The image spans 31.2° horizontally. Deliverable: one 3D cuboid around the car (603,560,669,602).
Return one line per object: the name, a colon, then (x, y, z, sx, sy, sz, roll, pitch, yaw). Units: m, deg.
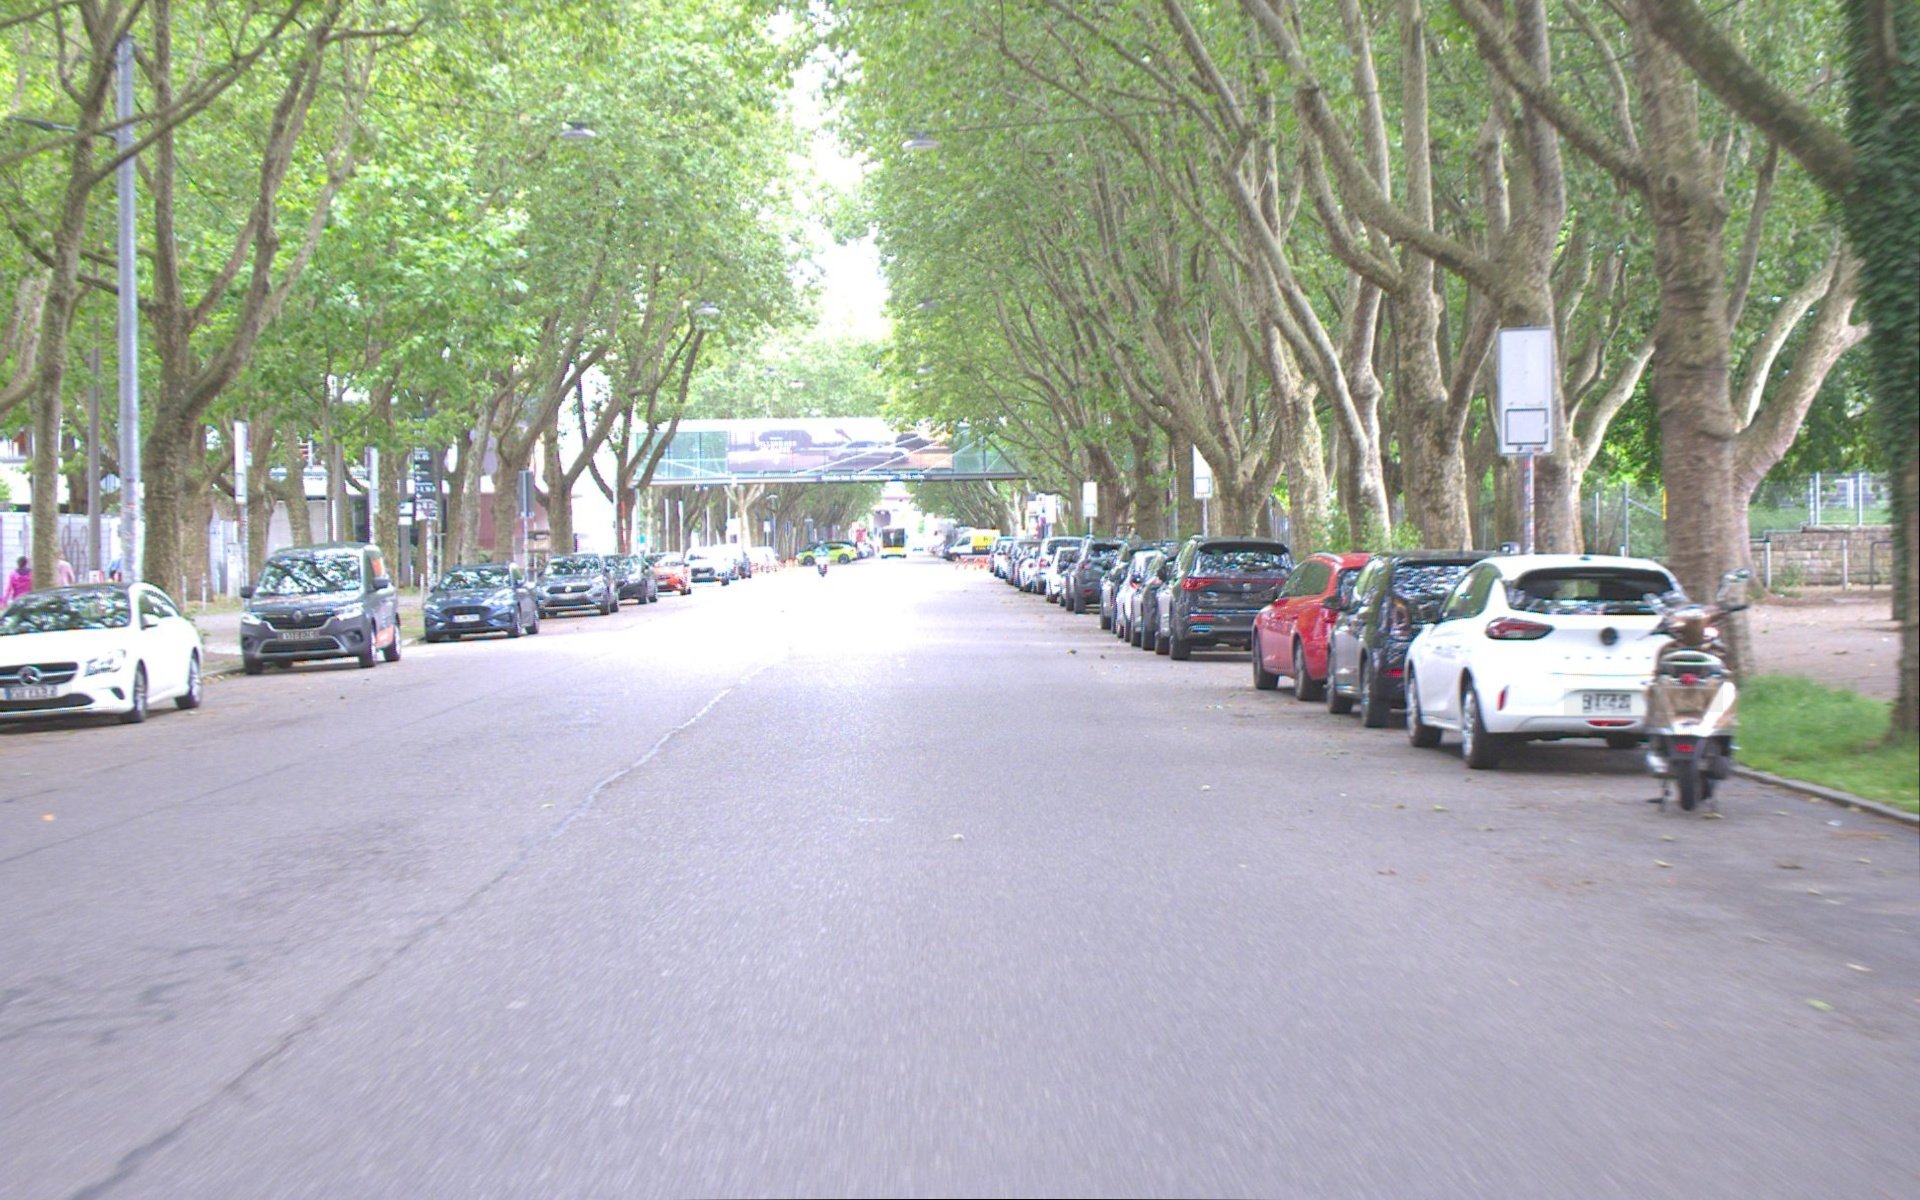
car: (-10.751, -0.644, 114.322, 1.808, 1.349, 4.000, -1, 1, 0)

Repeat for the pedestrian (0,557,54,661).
pedestrian: (-15.812, 0.146, 58.219, 0.575, 1.736, 0.767, -1, 1, 14)

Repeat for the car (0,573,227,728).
car: (-9.104, 0.492, 35.758, 1.904, 1.398, 4.751, -4, 1, -1)

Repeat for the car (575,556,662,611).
car: (-9.560, -0.478, 96.505, 1.827, 1.460, 4.627, -2, 1, 2)

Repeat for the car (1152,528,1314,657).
car: (3.621, -0.123, 46.245, 1.755, 1.614, 4.439, 1, 1, 0)

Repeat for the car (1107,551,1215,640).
car: (3.388, -0.104, 58.470, 1.616, 1.436, 3.710, 1, 1, 0)

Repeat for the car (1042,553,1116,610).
car: (3.047, -0.494, 88.725, 1.707, 1.422, 3.889, 1, 1, -1)

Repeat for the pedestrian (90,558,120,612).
pedestrian: (-24.322, -0.430, 97.801, 0.667, 1.538, 0.660, 0, 0, 0)

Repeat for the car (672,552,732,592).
car: (-10.416, -1.151, 138.875, 2.073, 1.557, 4.756, -1, 1, 0)

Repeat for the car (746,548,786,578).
car: (-10.790, -2.080, 190.922, 1.993, 1.596, 4.001, 0, 1, -6)

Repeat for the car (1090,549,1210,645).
car: (3.419, -0.075, 62.505, 1.777, 1.667, 4.638, -1, 1, -2)

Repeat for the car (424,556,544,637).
car: (-9.229, -0.099, 66.936, 1.724, 1.481, 4.575, -1, 1, -1)

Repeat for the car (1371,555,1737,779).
car: (4.130, 0.409, 24.523, 1.735, 1.433, 4.123, -1, 1, -2)

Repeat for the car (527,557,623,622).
car: (-9.465, -0.279, 84.827, 1.878, 1.521, 4.151, -2, 1, 0)

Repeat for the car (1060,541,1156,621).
car: (3.223, -0.436, 75.629, 1.707, 1.692, 4.631, 1, 1, -2)

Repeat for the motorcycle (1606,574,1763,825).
motorcycle: (4.066, 0.524, 19.413, 0.712, 1.327, 1.992, 0, 1, 8)

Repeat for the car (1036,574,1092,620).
car: (3.760, -0.122, 125.261, 1.802, 1.550, 4.000, -1, 1, -1)

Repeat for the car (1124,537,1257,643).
car: (3.452, -0.176, 52.200, 1.668, 1.504, 4.354, 1, 1, 0)

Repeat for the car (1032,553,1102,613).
car: (3.168, -0.524, 102.533, 1.903, 1.733, 4.507, 0, 1, -1)

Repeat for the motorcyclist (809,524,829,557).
motorcyclist: (-6.369, -2.666, 155.151, 0.870, 1.475, 1.265, -1, 1, -4)

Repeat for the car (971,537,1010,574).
car: (1.532, -2.207, 171.830, 1.847, 1.777, 5.211, 1, 0, 0)

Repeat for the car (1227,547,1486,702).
car: (3.940, 0.201, 34.875, 1.716, 1.433, 4.630, 1, 1, -5)

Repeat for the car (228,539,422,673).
car: (-9.052, 0.053, 49.361, 1.949, 1.744, 4.639, -2, 1, -1)

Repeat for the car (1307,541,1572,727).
car: (4.115, 0.249, 30.076, 1.730, 1.465, 4.080, 2, 1, 0)

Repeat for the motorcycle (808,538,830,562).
motorcycle: (-6.358, -2.246, 155.133, 0.873, 1.075, 3.053, -1, 1, -4)
